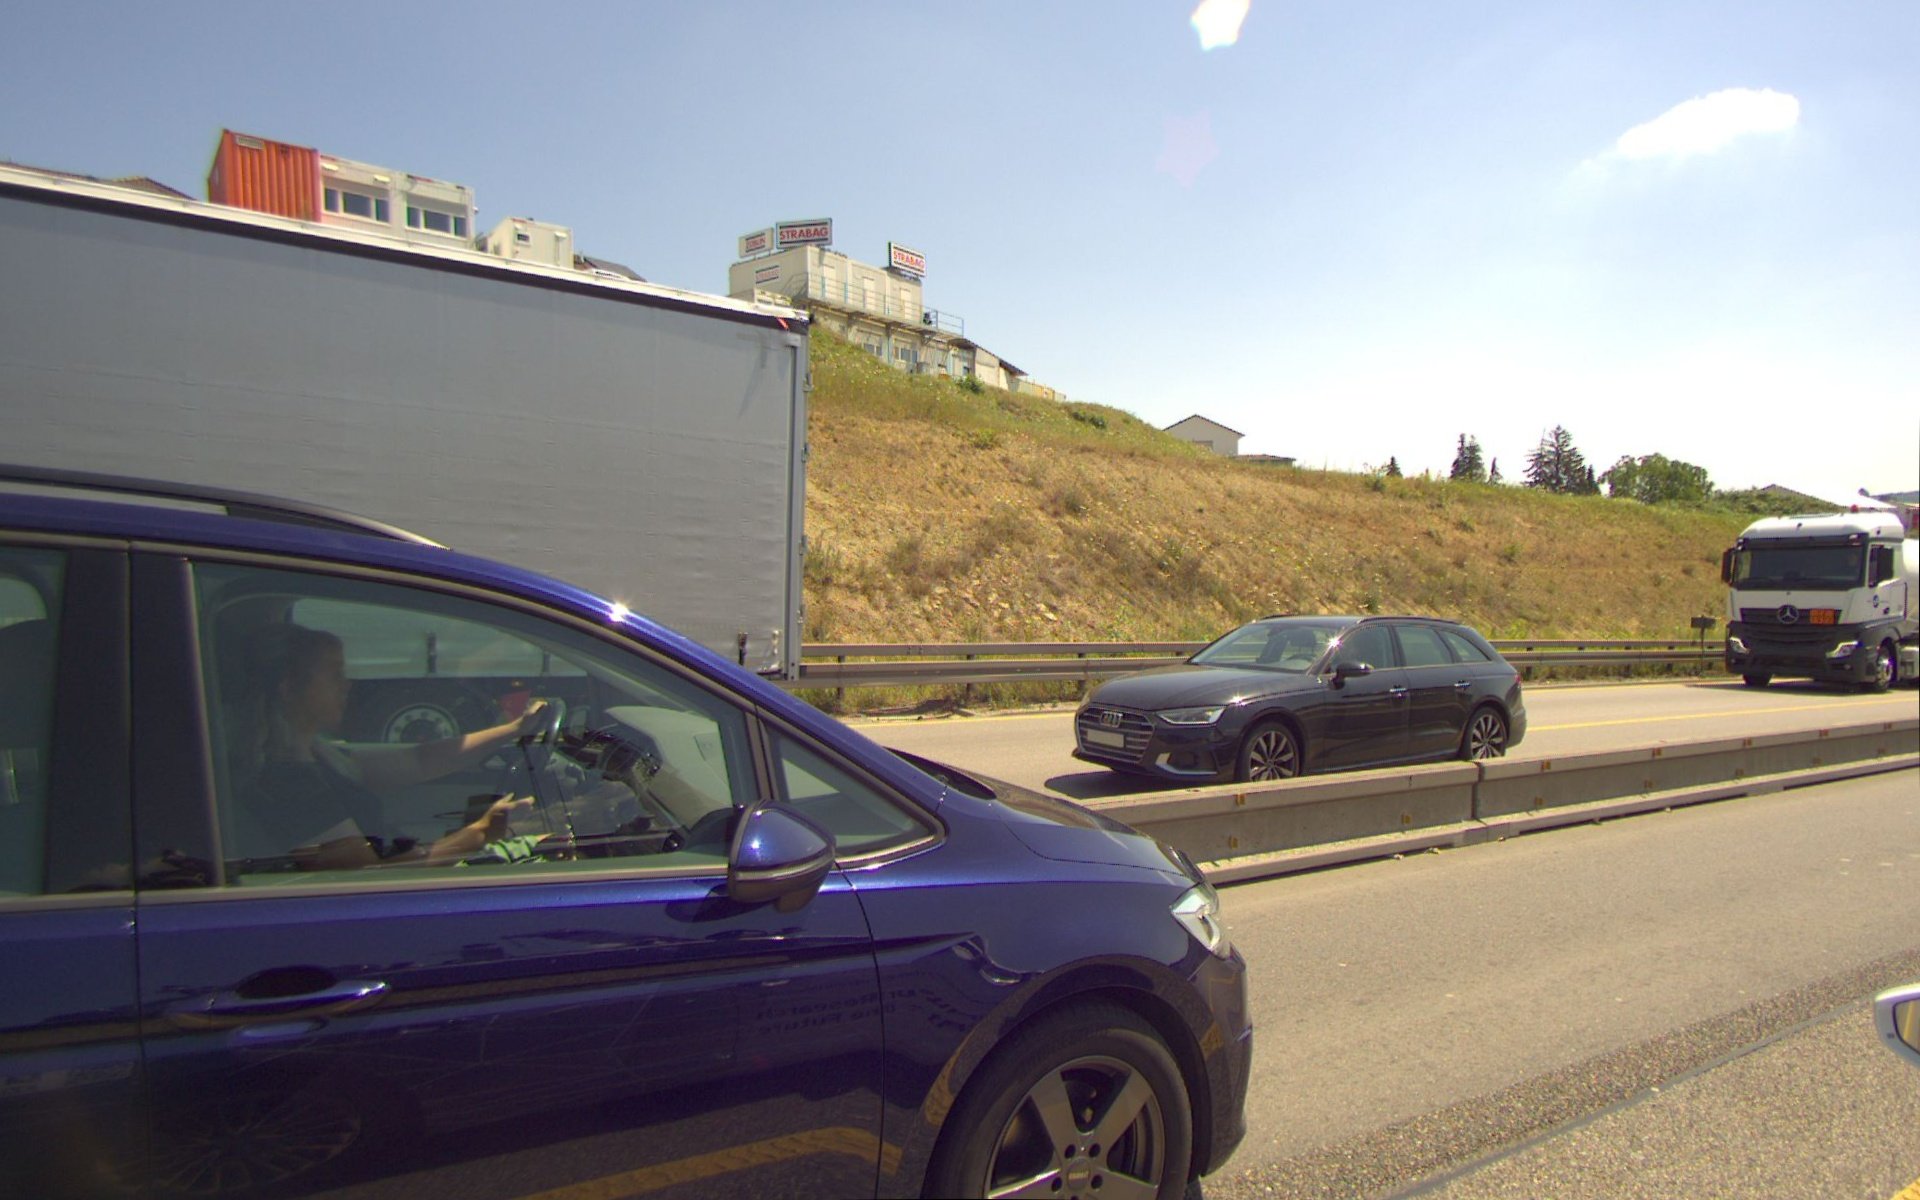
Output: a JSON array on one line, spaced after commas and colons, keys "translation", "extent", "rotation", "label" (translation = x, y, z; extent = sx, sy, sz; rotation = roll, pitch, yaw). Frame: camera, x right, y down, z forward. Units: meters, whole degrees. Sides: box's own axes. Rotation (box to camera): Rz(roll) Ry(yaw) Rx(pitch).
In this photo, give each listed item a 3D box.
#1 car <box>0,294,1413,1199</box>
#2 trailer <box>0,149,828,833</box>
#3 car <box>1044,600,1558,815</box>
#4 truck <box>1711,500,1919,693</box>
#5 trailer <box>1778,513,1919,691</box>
[{"translation": [-1.283, 0.496, 2.140], "extent": [4.597, 1.741, 1.767], "rotation": [0, 1, -30], "label": "car"}, {"translation": [-7.654, -0.678, 6.418], "extent": [13.542, 4.078, 2.684], "rotation": [1, 1, -31], "label": "trailer"}, {"translation": [3.172, 0.804, 9.019], "extent": [4.666, 1.477, 1.770], "rotation": [1, 0, -31], "label": "car"}, {"translation": [18.908, -0.066, 22.043], "extent": [3.722, 3.853, 2.578], "rotation": [1, 1, -30], "label": "truck"}, {"translation": [25.239, 0.089, 25.775], "extent": [11.777, 3.853, 2.577], "rotation": [1, 1, -30], "label": "trailer"}]
